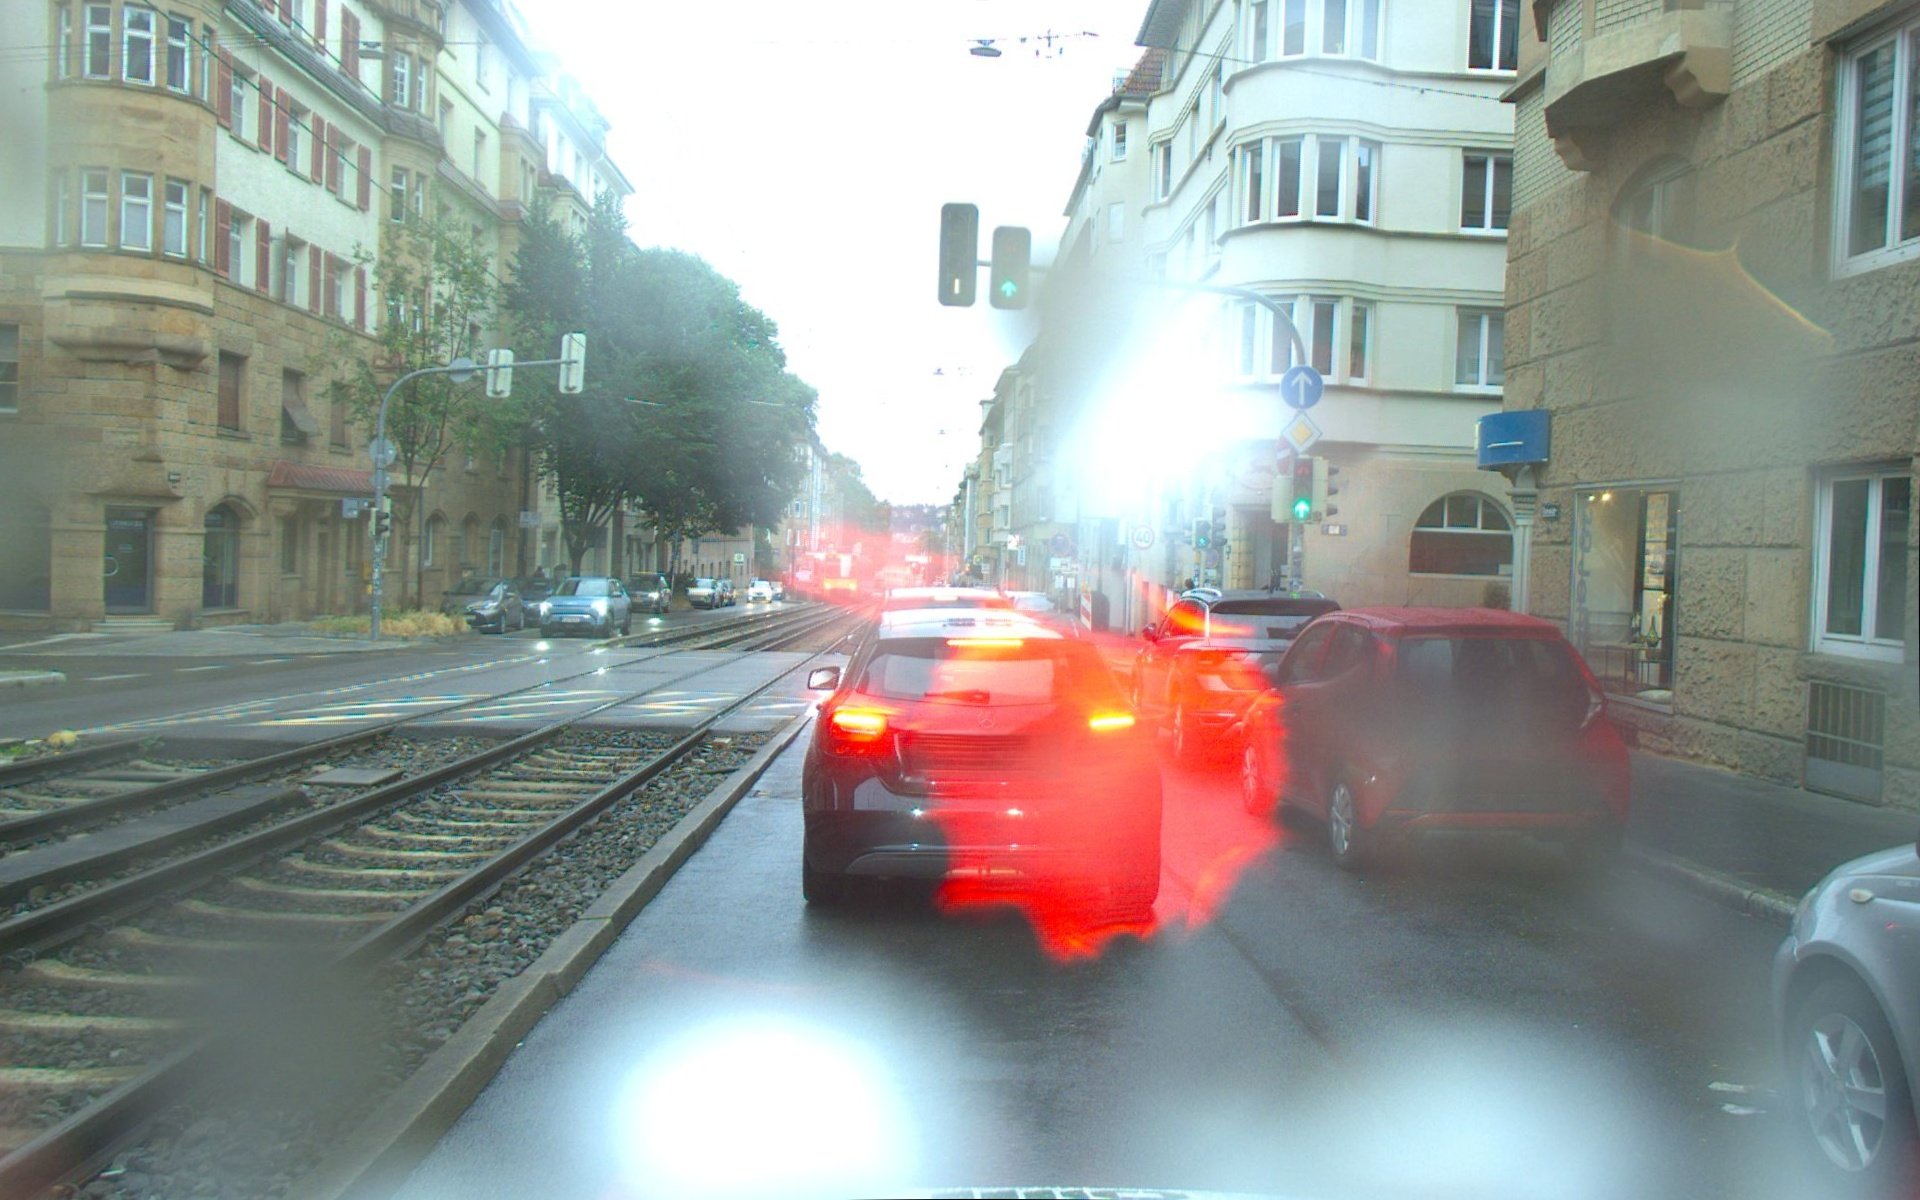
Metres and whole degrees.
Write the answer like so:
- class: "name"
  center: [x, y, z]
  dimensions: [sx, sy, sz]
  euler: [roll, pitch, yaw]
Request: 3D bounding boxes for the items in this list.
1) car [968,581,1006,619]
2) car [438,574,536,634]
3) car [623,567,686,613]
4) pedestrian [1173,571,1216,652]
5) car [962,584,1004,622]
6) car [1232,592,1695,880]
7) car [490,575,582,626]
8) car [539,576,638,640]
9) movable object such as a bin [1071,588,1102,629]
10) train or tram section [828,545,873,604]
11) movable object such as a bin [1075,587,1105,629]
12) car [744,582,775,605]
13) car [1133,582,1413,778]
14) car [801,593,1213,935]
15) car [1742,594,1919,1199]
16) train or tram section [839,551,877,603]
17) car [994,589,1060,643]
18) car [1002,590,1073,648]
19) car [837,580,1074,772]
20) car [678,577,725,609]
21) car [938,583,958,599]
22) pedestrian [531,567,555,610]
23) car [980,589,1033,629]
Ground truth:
- class: "car"
  center: [1.307, 0.012, 80.715]
  dimensions: [1.742, 1.780, 4.548]
  euler: [1, 0, 0]
- class: "car"
  center: [-12.948, 0.123, 45.497]
  dimensions: [1.656, 1.556, 4.173]
  euler: [1, 0, -3]
- class: "car"
  center: [-13.231, -0.450, 71.930]
  dimensions: [1.914, 1.772, 4.777]
  euler: [4, 1, -3]
- class: "pedestrian"
  center: [5.083, 0.245, 35.890]
  dimensions: [0.788, 1.717, 0.754]
  euler: [1, -1, -2]
- class: "car"
  center: [1.069, 0.141, 74.539]
  dimensions: [1.803, 1.636, 4.761]
  euler: [1, 0, 1]
- class: "car"
  center: [2.975, 0.719, 10.549]
  dimensions: [1.672, 1.478, 3.530]
  euler: [2, 0, -3]
- class: "car"
  center: [-13.010, 0.028, 51.053]
  dimensions: [1.745, 1.485, 4.976]
  euler: [1, 0, -3]
- class: "car"
  center: [-10.015, 0.217, 44.888]
  dimensions: [1.883, 1.646, 4.126]
  euler: [1, 0, -3]
- class: "movable object such as a bin"
  center: [4.690, 0.304, 61.413]
  dimensions: [0.997, 1.494, 1.322]
  euler: [1, 0, -2]
- class: "train or tram section"
  center: [-8.232, -1.868, 125.905]
  dimensions: [2.690, 4.132, 17.208]
  euler: [1, 1, -2]
- class: "movable object such as a bin"
  center: [4.696, 0.297, 59.852]
  dimensions: [0.960, 1.494, 1.272]
  euler: [1, 0, -2]
- class: "car"
  center: [-13.618, -0.431, 112.406]
  dimensions: [1.745, 1.529, 4.060]
  euler: [1, 0, -3]
- class: "car"
  center: [2.826, 0.663, 15.820]
  dimensions: [1.830, 1.576, 3.990]
  euler: [2, 0, -1]
- class: "car"
  center: [0.183, 0.722, 9.283]
  dimensions: [1.797, 1.478, 3.901]
  euler: [1, 0, -1]
- class: "car"
  center: [3.080, 0.753, 3.068]
  dimensions: [1.562, 1.513, 3.521]
  euler: [0, 0, -1]
- class: "train or tram section"
  center: [-8.649, -1.951, 142.135]
  dimensions: [2.690, 4.132, 15.656]
  euler: [1, 1, -2]
- class: "car"
  center: [1.951, 0.462, 49.014]
  dimensions: [1.677, 1.493, 4.773]
  euler: [1, 0, -1]
- class: "car"
  center: [2.003, 0.481, 43.647]
  dimensions: [1.675, 1.435, 4.817]
  euler: [1, 0, 1]
- class: "car"
  center: [-0.067, 0.638, 16.122]
  dimensions: [1.953, 1.552, 4.245]
  euler: [2, 0, -1]
- class: "car"
  center: [-13.912, -0.402, 89.116]
  dimensions: [1.922, 1.633, 4.327]
  euler: [2, 1, -2]
- class: "car"
  center: [-1.216, -0.915, 168.724]
  dimensions: [1.848, 1.552, 4.246]
  euler: [2, 0, 1]
- class: "pedestrian"
  center: [-16.549, -0.458, 65.636]
  dimensions: [0.713, 1.692, 0.770]
  euler: [2, 0, -2]
- class: "car"
  center: [1.719, 0.332, 61.965]
  dimensions: [1.753, 1.410, 4.394]
  euler: [1, 0, -1]
